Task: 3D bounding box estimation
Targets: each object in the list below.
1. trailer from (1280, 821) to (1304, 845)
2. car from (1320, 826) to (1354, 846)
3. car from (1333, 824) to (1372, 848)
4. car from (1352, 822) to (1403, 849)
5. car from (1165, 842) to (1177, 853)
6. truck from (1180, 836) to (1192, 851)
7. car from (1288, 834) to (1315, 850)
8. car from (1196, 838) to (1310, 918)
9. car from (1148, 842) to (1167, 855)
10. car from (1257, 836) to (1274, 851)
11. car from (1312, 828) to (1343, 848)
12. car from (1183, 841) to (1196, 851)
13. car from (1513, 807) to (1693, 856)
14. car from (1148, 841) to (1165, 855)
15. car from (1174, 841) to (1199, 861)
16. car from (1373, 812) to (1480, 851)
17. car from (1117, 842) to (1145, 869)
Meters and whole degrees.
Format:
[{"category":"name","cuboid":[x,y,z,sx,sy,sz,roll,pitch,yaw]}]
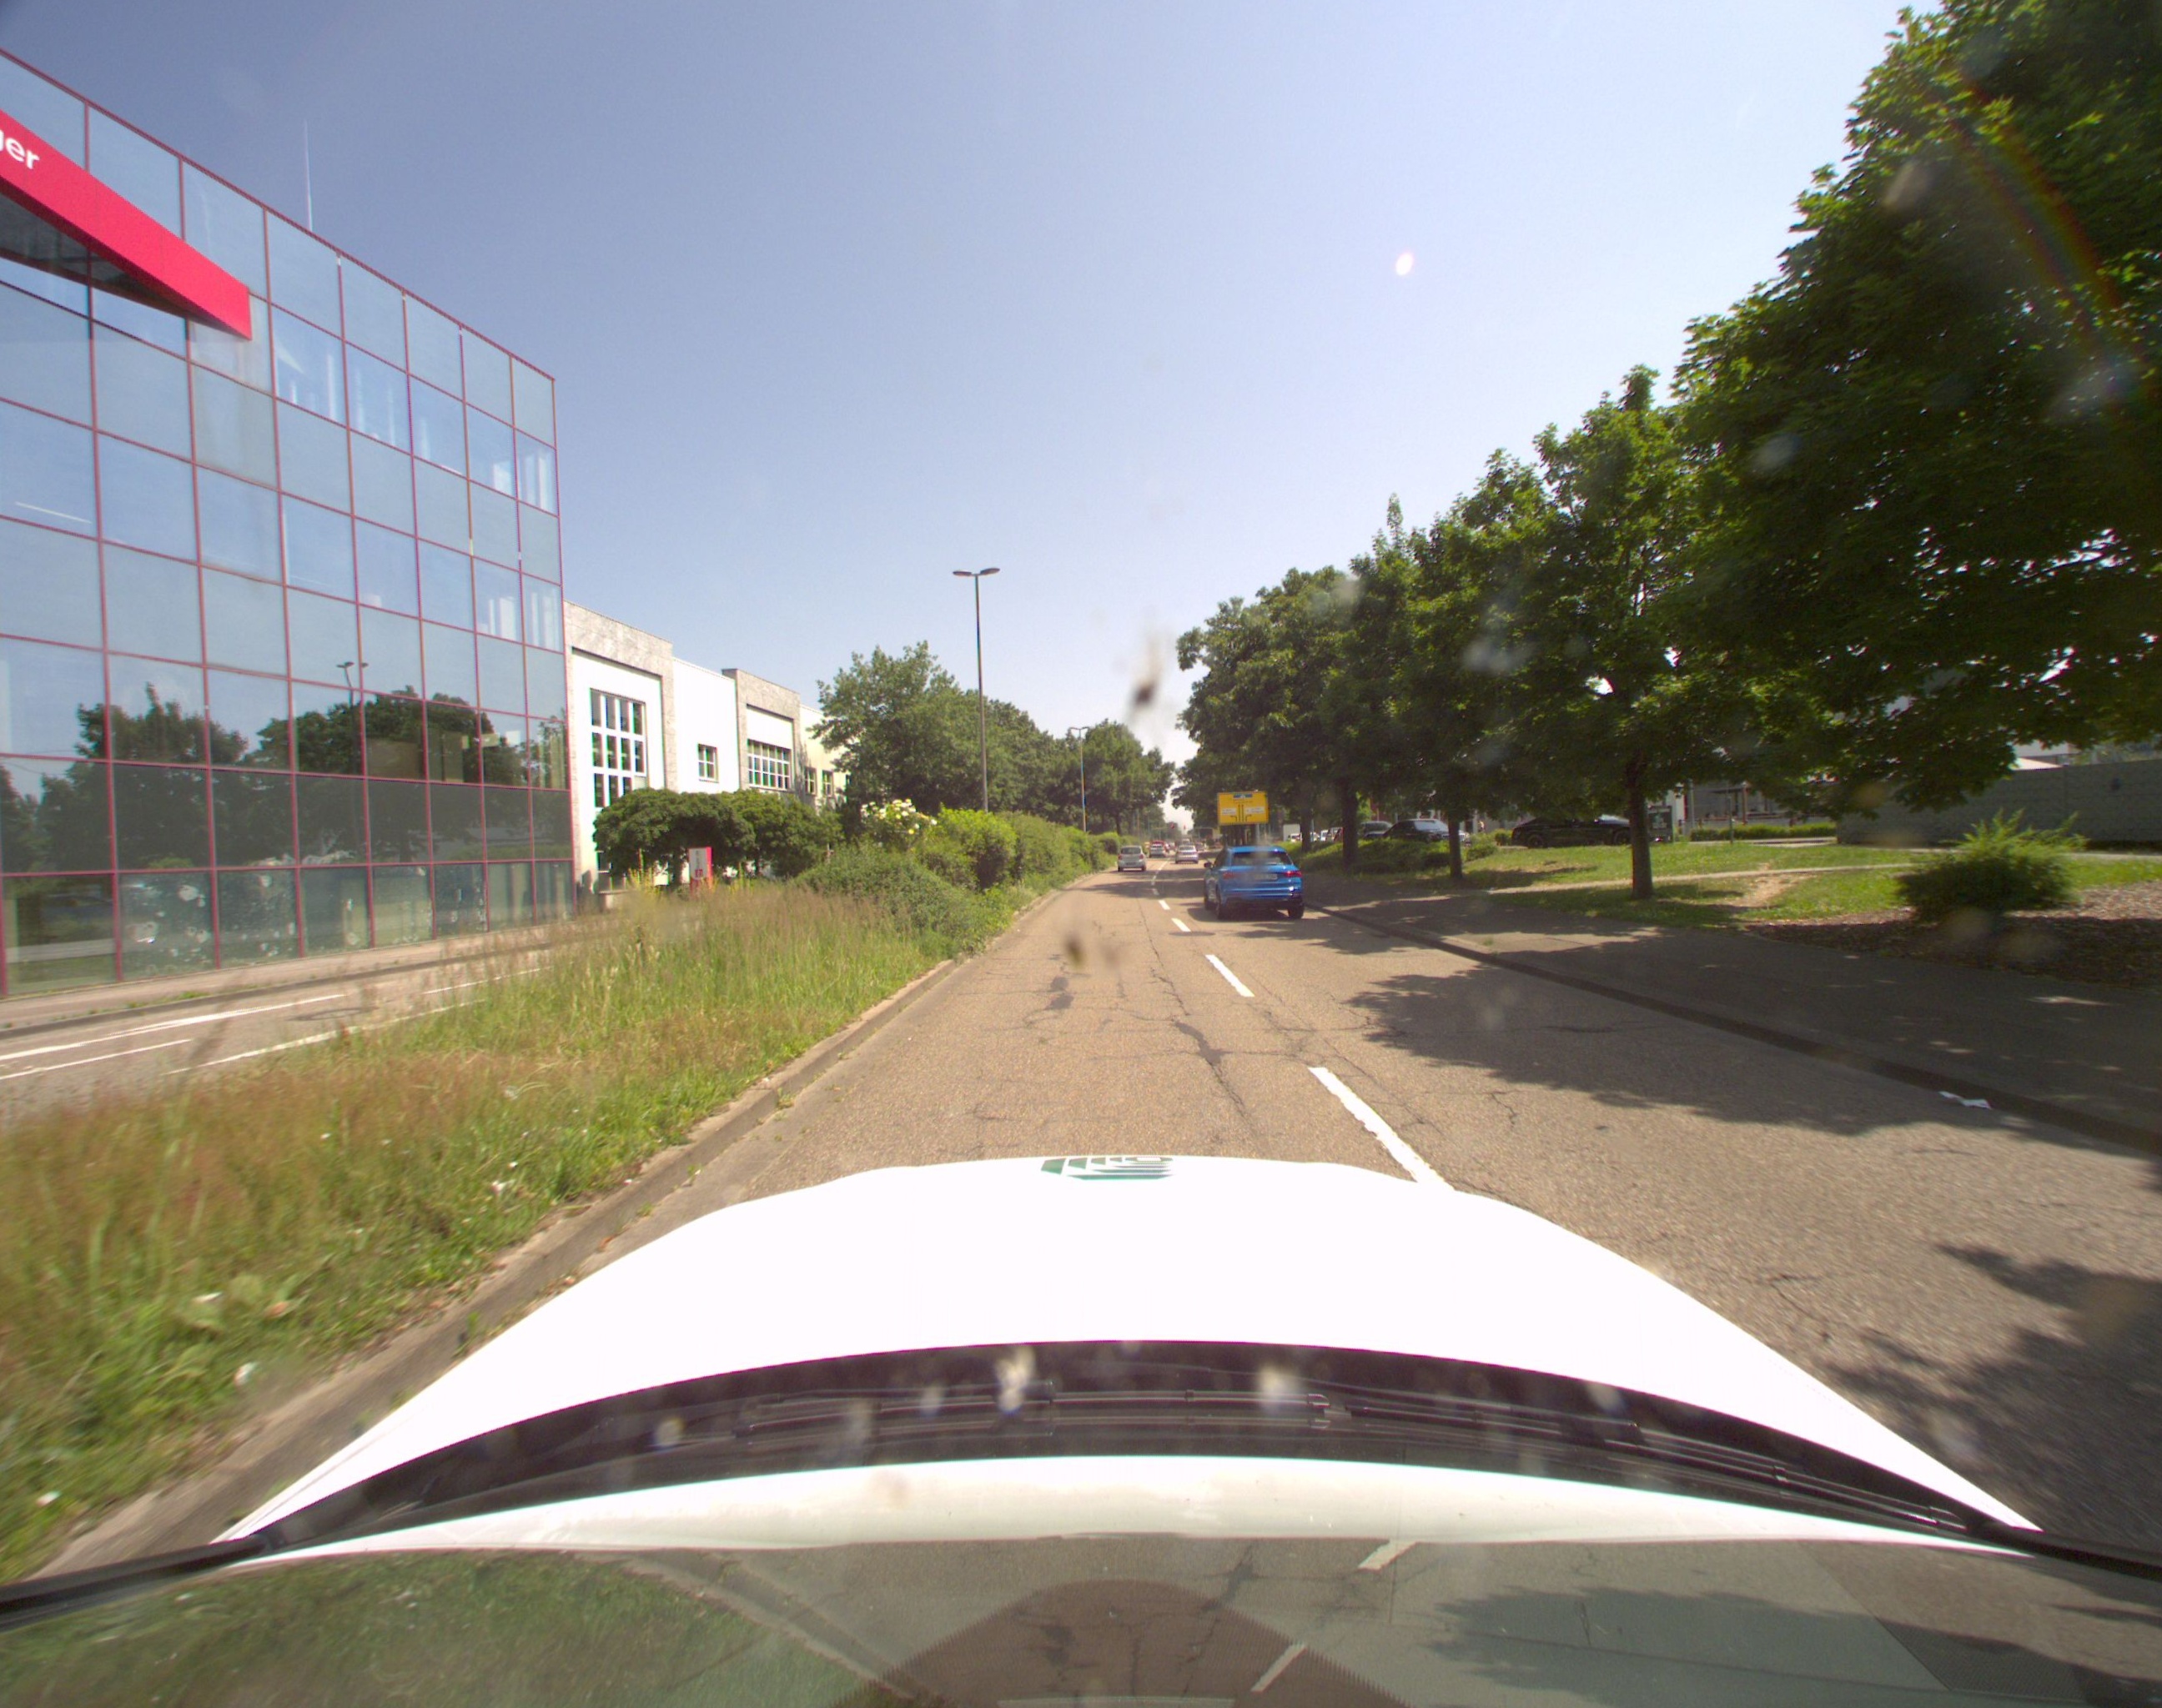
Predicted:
[{"category":"trailer","cuboid":[19.332,-1.920,74.775,1.690,2.055,5.498,-2,0,10]},{"category":"car","cuboid":[16.192,-1.128,51.611,1.500,1.122,2.860,-1,-1,5]},{"category":"car","cuboid":[15.761,-1.027,47.386,1.609,1.253,3.774,-1,-1,11]},{"category":"car","cuboid":[15.031,-0.931,41.492,1.610,1.253,4.208,0,0,8]},{"category":"car","cuboid":[12.559,-0.934,113.565,1.481,1.392,3.309,-1,-1,2]},{"category":"truck","cuboid":[26.285,-2.607,203.675,2.916,3.502,9.177,-2,0,7]},{"category":"car","cuboid":[18.768,-1.006,69.392,1.611,1.253,3.636,-1,-1,6]},{"category":"car","cuboid":[3.837,0.511,18.886,1.802,1.593,4.351,-1,-1,2]},{"category":"car","cuboid":[8.204,-0.582,87.370,1.874,1.354,4.008,-1,-1,7]},{"category":"car","cuboid":[22.513,-1.269,99.487,1.690,1.637,3.915,-2,-1,9]},{"category":"car","cuboid":[17.183,-1.114,56.851,1.609,1.253,3.878,-1,-1,11]},{"category":"car","cuboid":[16.537,-1.164,124.174,1.436,1.348,3.462,-4,0,2]},{"category":"car","cuboid":[17.276,-0.701,27.216,1.959,1.352,4.670,-3,0,-30]},{"category":"car","cuboid":[9.334,-0.734,100.257,1.875,1.608,4.008,-3,0,7]},{"category":"car","cuboid":[8.148,-0.203,63.184,1.856,1.473,4.008,-1,-1,7]},{"category":"car","cuboid":[14.694,-0.895,35.058,1.902,1.451,5.593,-1,0,-4]},{"category":"car","cuboid":[3.001,0.103,48.976,1.631,1.552,3.328,-1,-1,3]}]
